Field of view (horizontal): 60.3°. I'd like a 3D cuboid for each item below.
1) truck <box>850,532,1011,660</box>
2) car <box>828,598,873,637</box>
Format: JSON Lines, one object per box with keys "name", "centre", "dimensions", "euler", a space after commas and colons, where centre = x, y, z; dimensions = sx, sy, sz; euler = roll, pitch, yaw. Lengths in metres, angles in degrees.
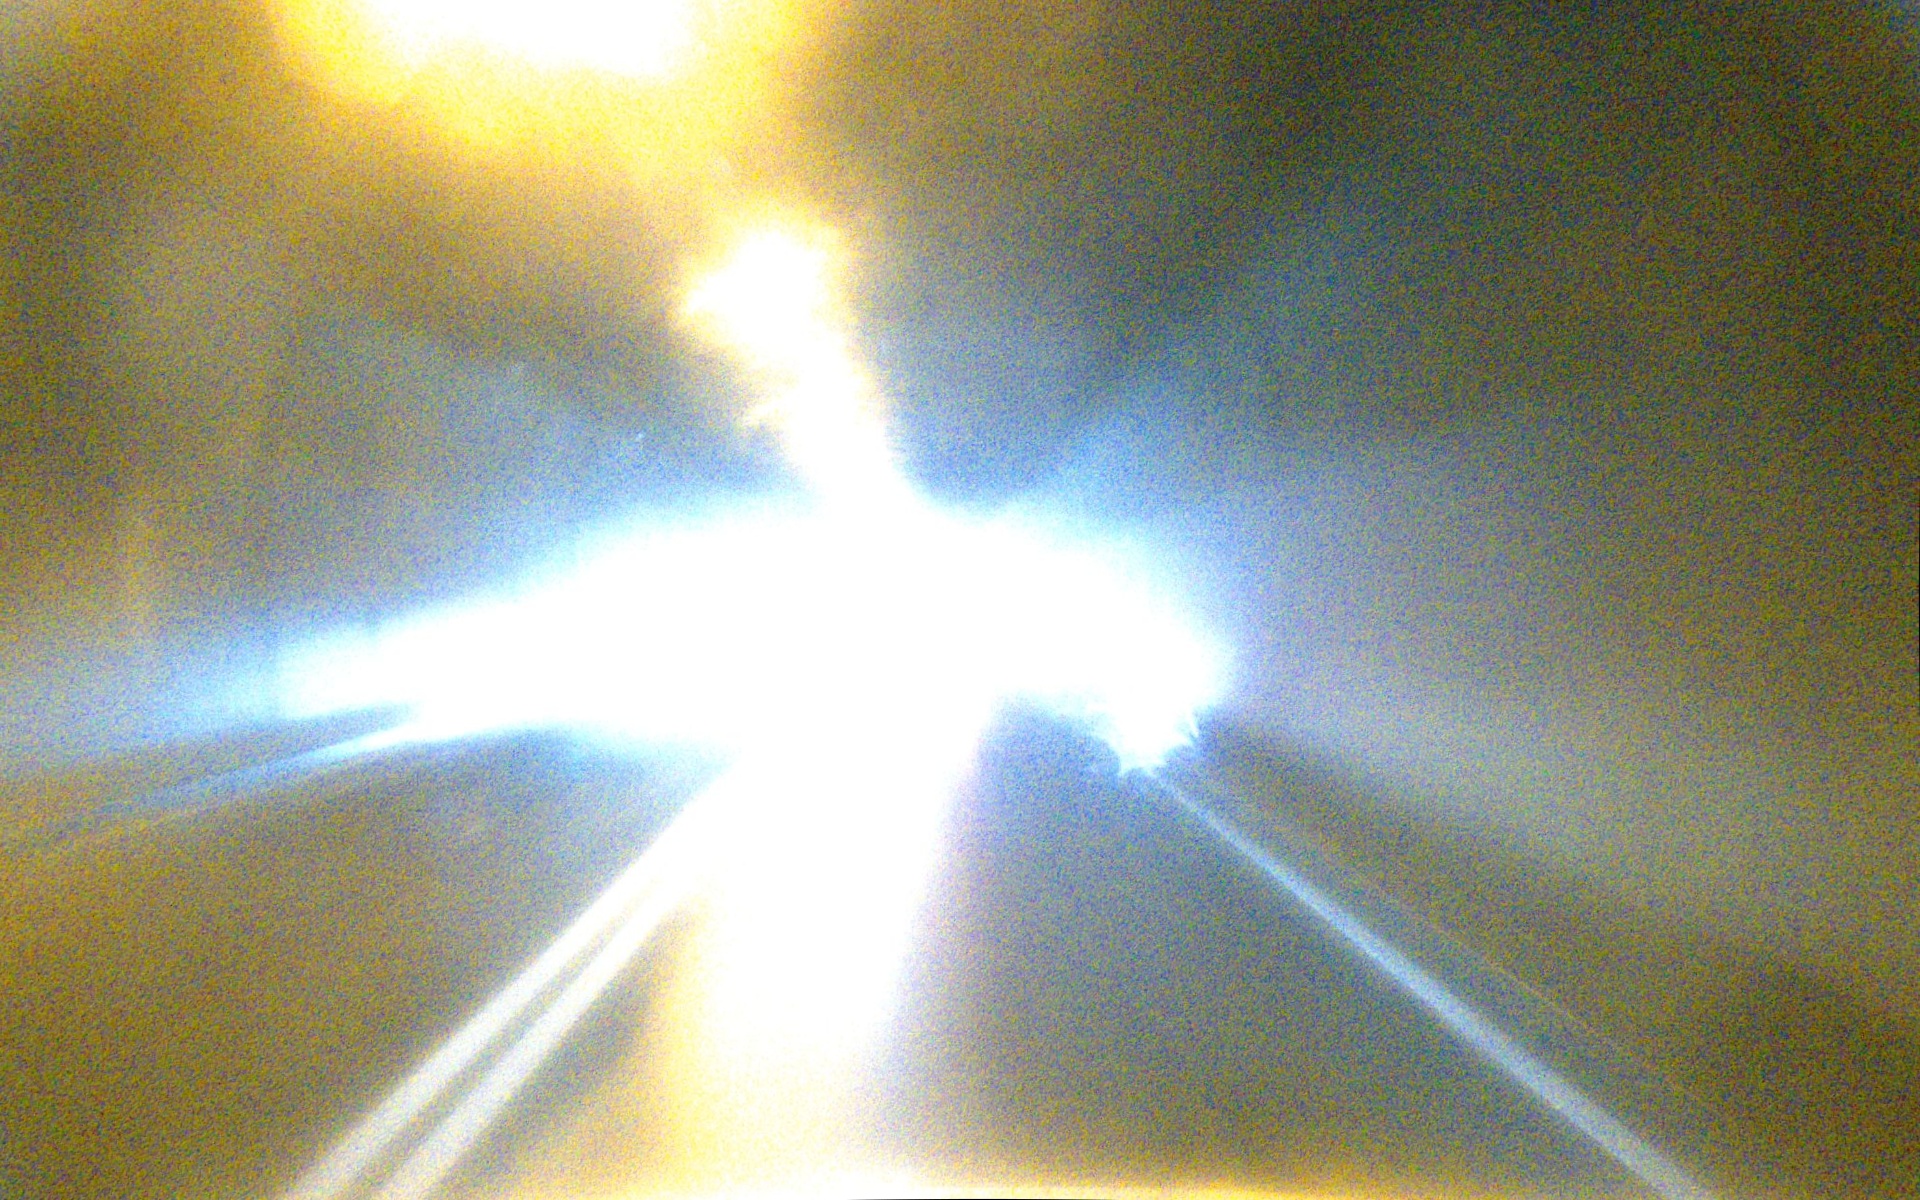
{"name": "truck", "centre": [-0.694, -0.106, 40.194], "dimensions": [3.463, 2.740, 8.954], "euler": [0, 0, -1]}
{"name": "car", "centre": [-4.649, 0.738, 70.801], "dimensions": [1.713, 1.612, 3.999], "euler": [1, 0, -1]}
